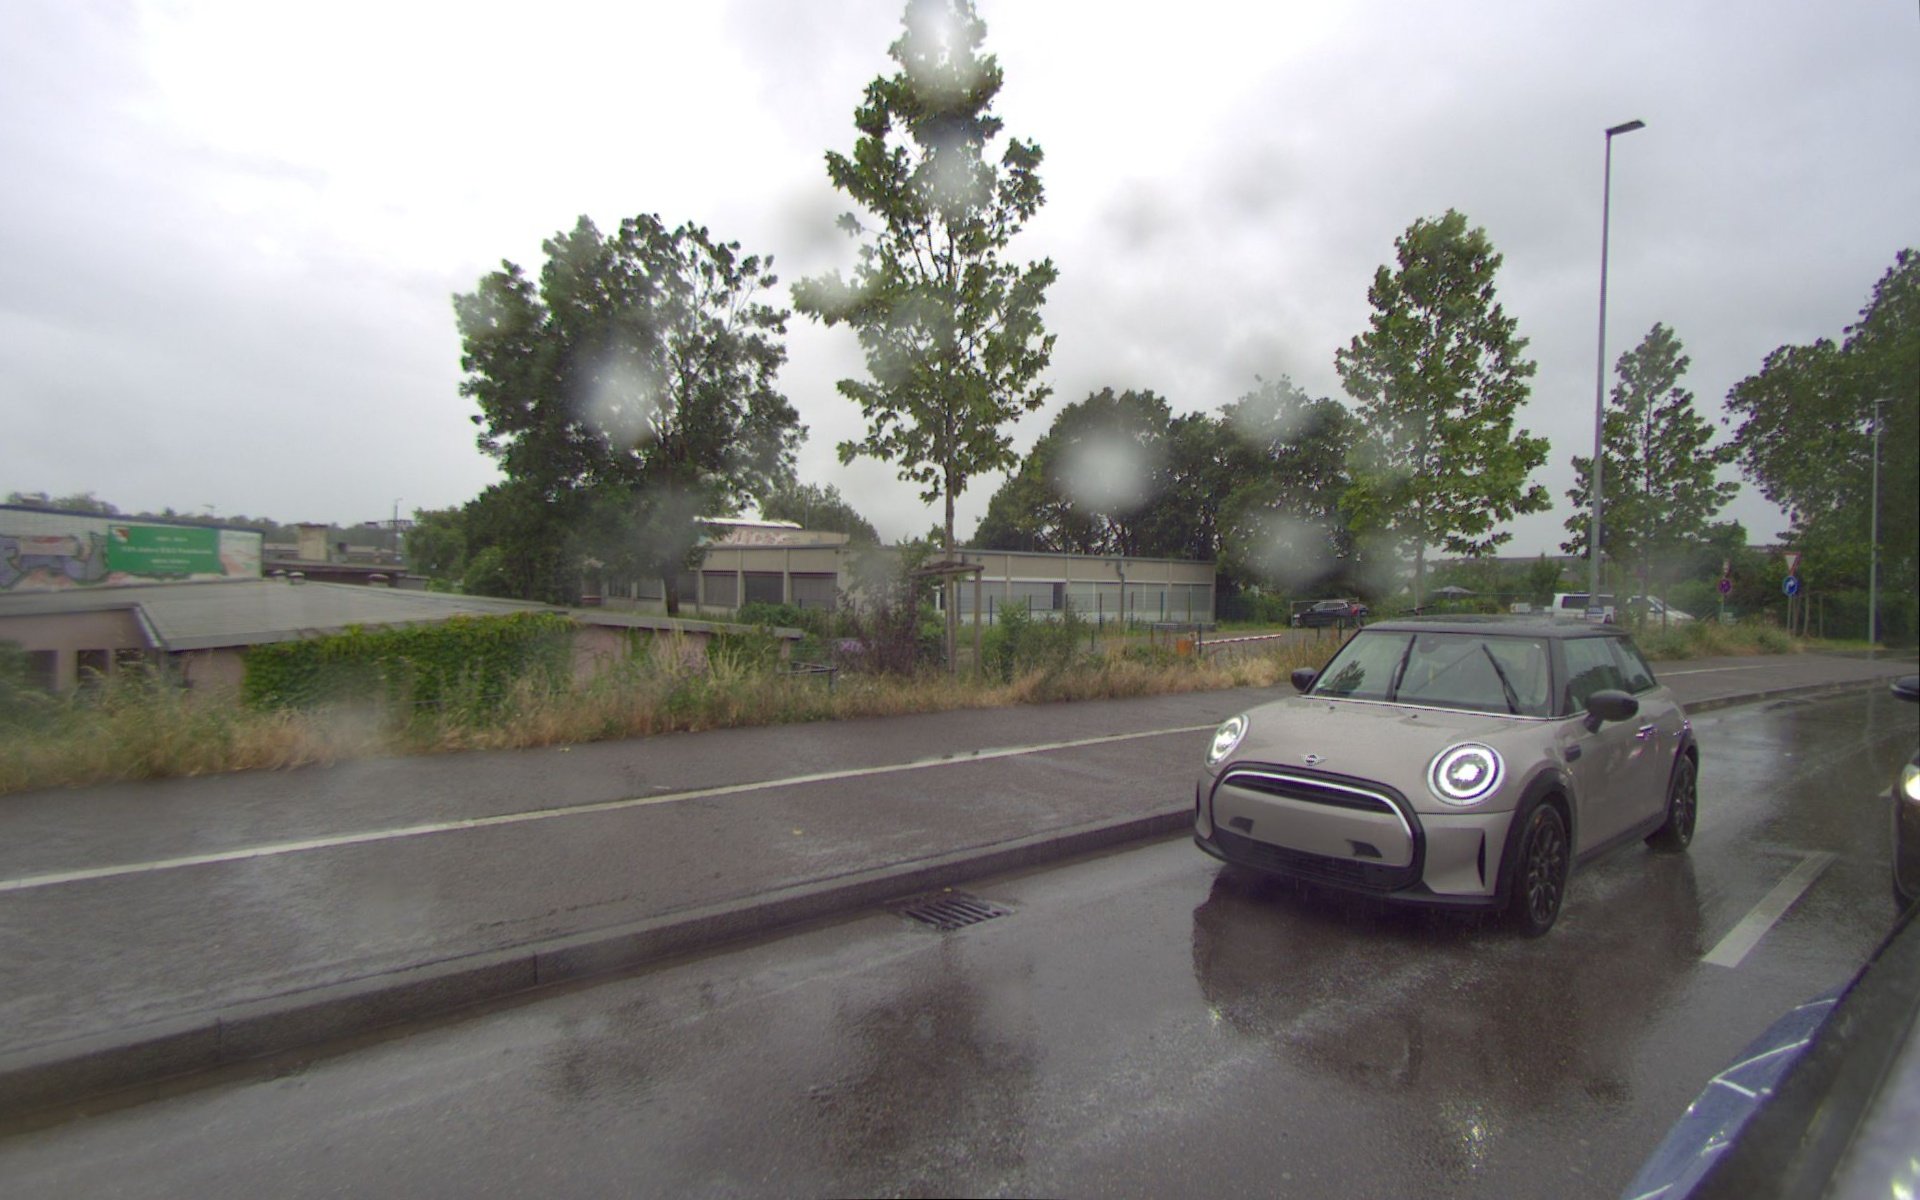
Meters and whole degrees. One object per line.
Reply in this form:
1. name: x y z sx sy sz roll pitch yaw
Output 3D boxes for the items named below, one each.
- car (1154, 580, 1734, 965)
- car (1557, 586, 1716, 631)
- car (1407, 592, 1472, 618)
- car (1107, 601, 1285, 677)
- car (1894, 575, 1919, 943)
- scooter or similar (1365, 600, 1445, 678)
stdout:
1. car: 3.010 0.683 5.929 3.811 1.527 1.705 0 0 -41
2. car: 28.016 0.322 42.056 1.972 1.747 5.168 0 0 -42
3. car: 30.567 0.304 64.545 1.319 1.604 3.555 0 0 -35
4. car: 4.399 0.676 19.239 1.319 1.304 3.246 0 0 -35
5. car: 6.245 0.721 5.139 4.095 1.601 1.757 1 -1 -41
6. scooter or similar: 7.381 0.619 16.755 1.877 1.214 0.367 0 0 -38
